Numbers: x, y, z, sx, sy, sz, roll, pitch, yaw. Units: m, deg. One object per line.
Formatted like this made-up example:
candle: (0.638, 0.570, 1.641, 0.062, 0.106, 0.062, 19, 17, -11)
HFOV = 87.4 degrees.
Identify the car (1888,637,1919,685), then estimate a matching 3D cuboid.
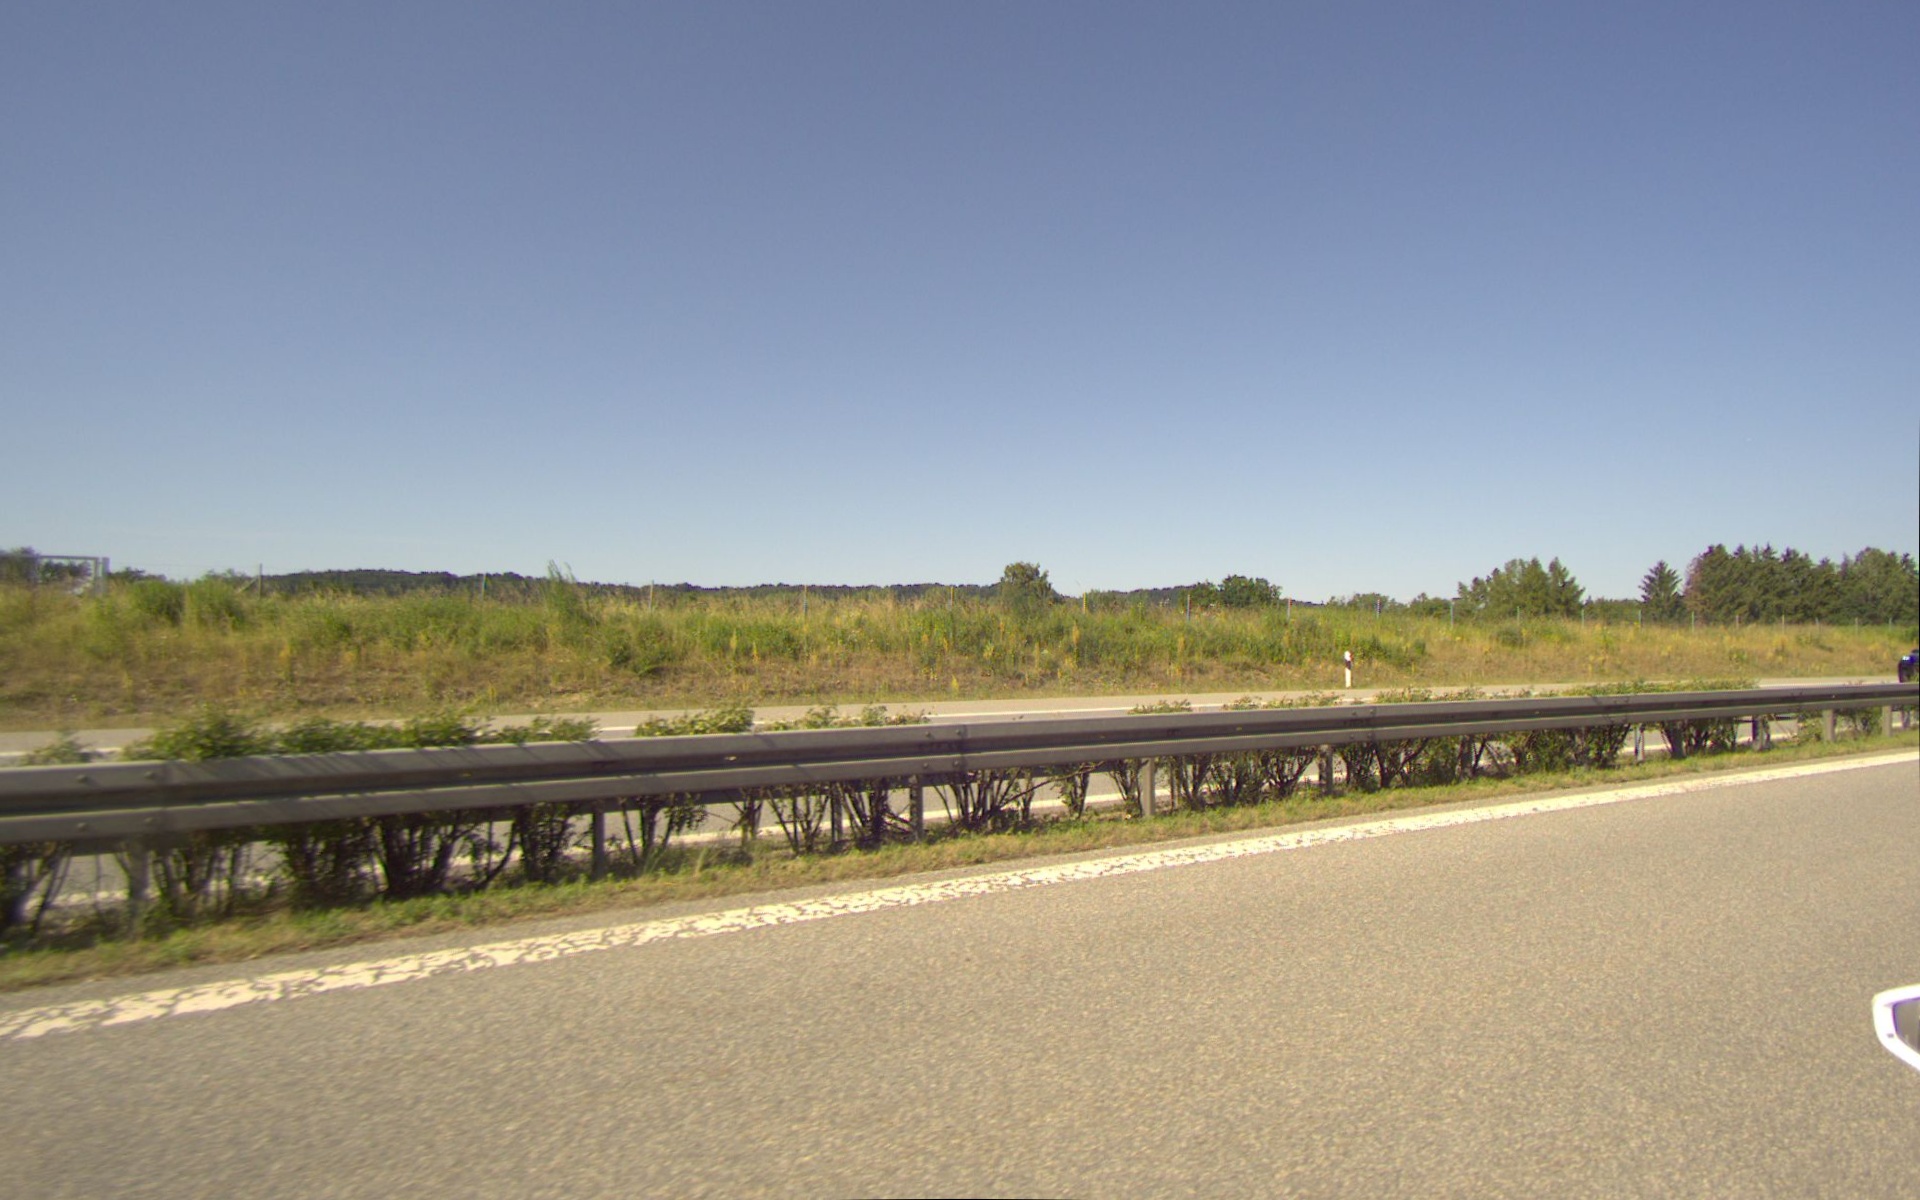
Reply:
car: (34.051, 2.077, 34.566, 4.411, 1.573, 1.824, 1, -1, -29)
